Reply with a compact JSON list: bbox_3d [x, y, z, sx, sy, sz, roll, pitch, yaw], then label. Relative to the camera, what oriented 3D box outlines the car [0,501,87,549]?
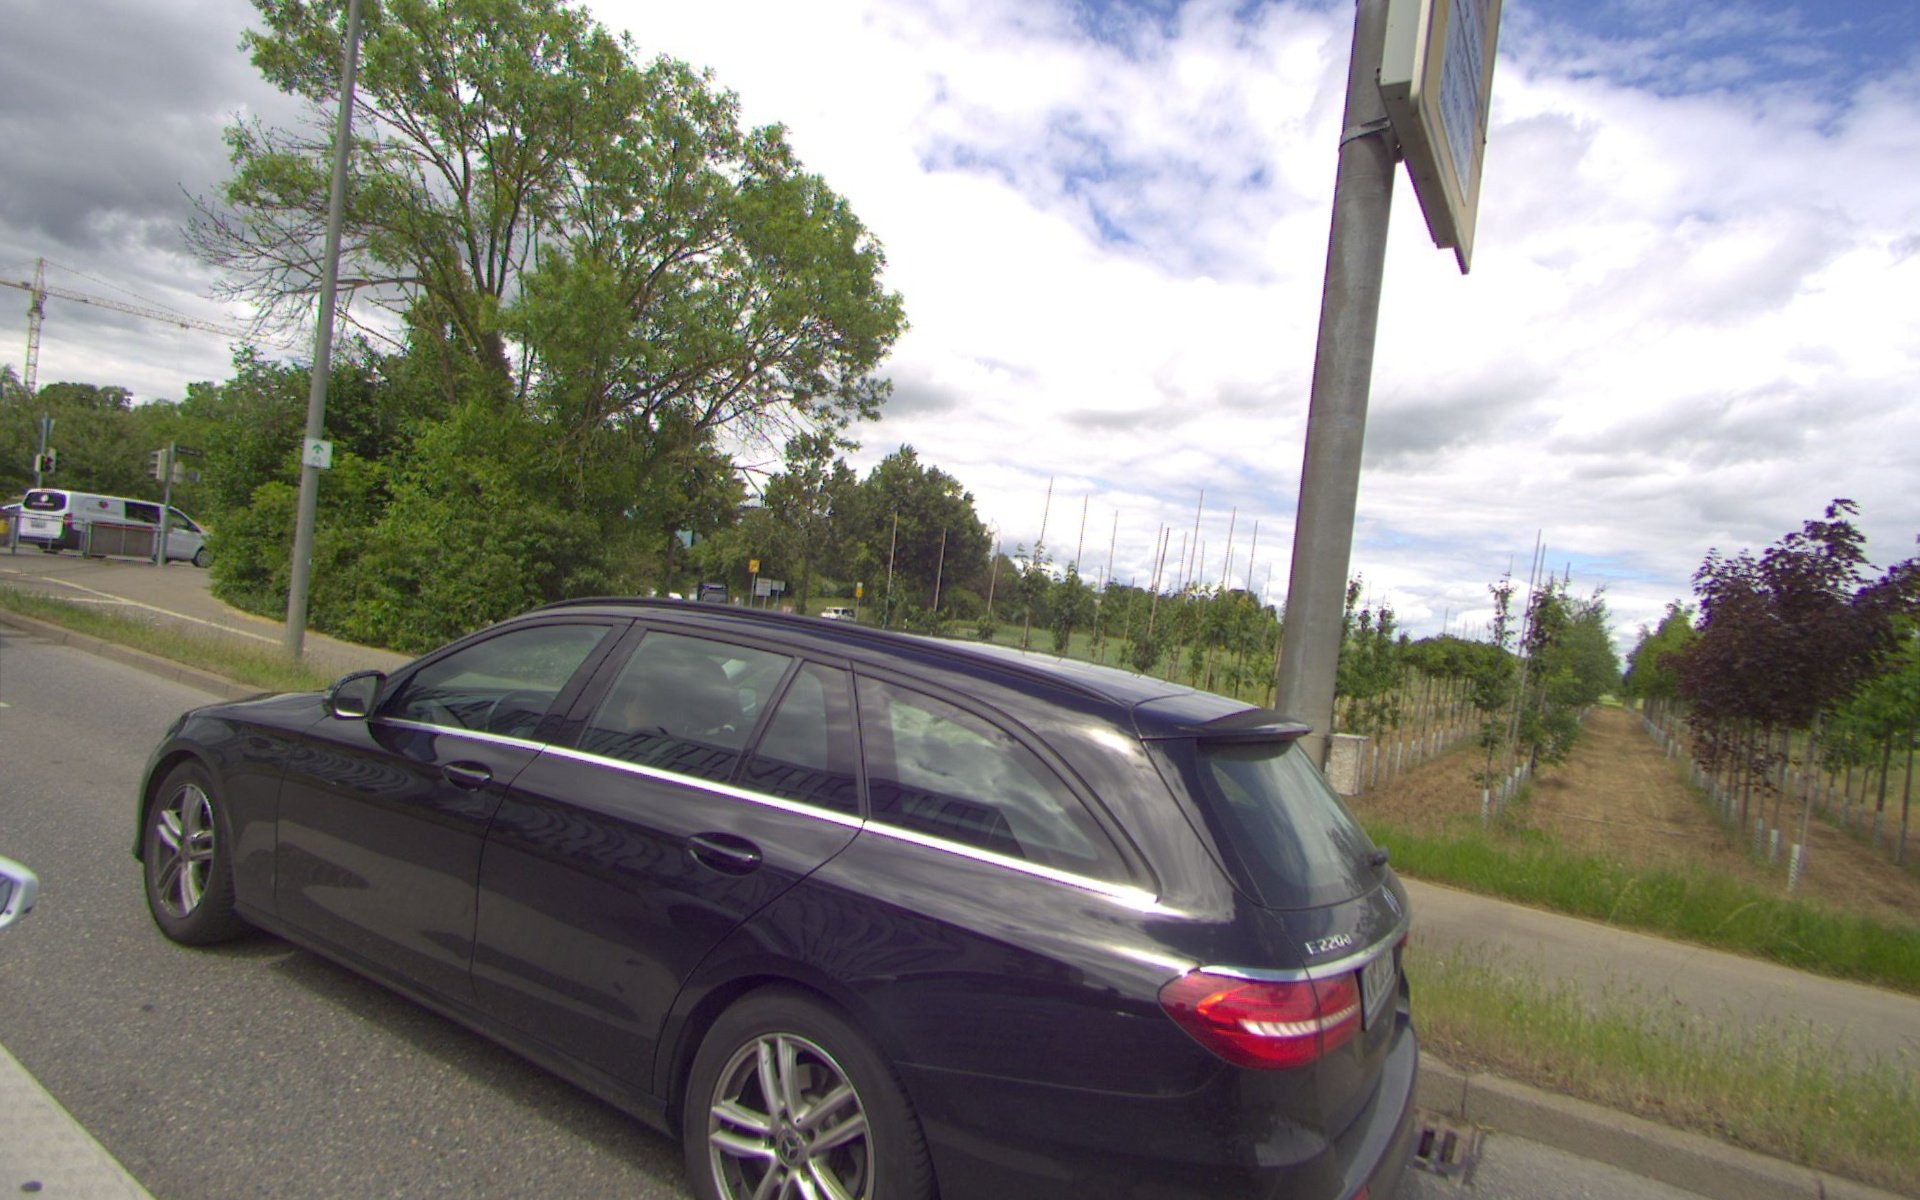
[{"bbox_3d":[-38.438,-3.160,40.973,1.971,1.548,3.986,7,-1,39],"label":"car"}]

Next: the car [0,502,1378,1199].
[{"bbox_3d":[-1.369,0.645,3.749,5.111,1.459,1.875,7,0,29],"label":"car"}]

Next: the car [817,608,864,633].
[{"bbox_3d":[-7.698,1.338,65.138,1.657,1.361,3.392,7,-1,18],"label":"car"}]

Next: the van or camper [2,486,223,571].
[{"bbox_3d":[-25.815,-2.097,30.938,1.962,1.882,4.947,7,-1,11],"label":"van or camper"}]
